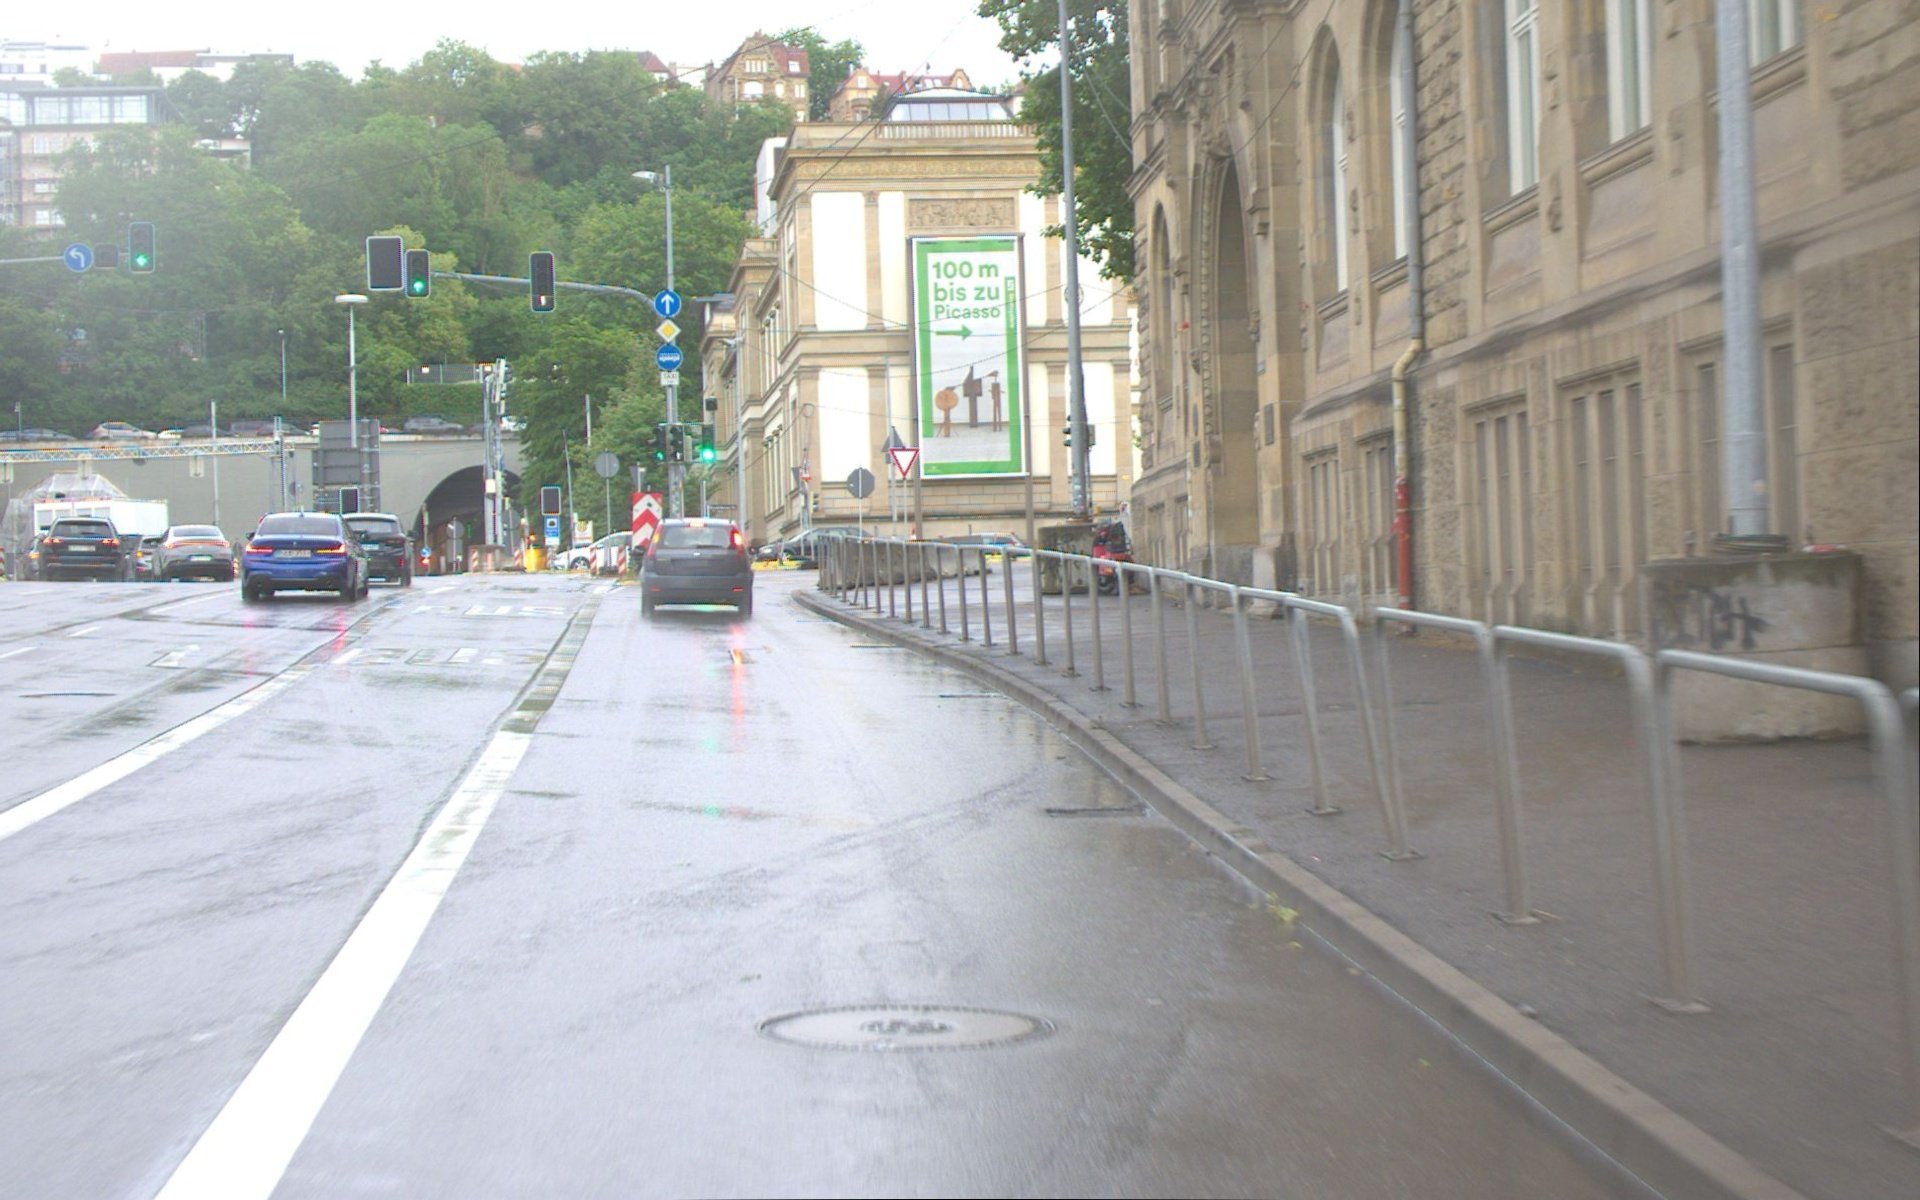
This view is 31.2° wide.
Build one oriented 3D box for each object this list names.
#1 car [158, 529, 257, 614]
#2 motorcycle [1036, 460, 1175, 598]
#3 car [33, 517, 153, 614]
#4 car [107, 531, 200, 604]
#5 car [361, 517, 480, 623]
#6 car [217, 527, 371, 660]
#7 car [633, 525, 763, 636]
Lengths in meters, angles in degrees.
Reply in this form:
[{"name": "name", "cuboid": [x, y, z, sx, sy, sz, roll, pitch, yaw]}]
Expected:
[{"name": "car", "cuboid": [-19.110, -0.702, 87.457, 2.051, 2.007, 4.000, -2, -1, -7]}, {"name": "motorcycle", "cuboid": [2.192, -1.096, 52.660, 1.795, 2.007, 3.813, -1, 1, -2]}, {"name": "car", "cuboid": [-19.434, -0.758, 77.202, 2.016, 2.007, 4.000, -2, -1, -6]}, {"name": "car", "cuboid": [-23.878, -0.943, 101.909, 1.993, 2.007, 4.000, -2, -1, -4]}, {"name": "car", "cuboid": [-11.038, -0.581, 70.526, 1.776, 2.007, 4.000, -2, -1, 0]}, {"name": "car", "cuboid": [-10.922, -0.070, 56.604, 2.104, 2.044, 4.000, -2, -1, -6]}, {"name": "car", "cuboid": [-3.956, -0.257, 51.569, 1.812, 1.522, 4.000, -2, -1, -5]}]
